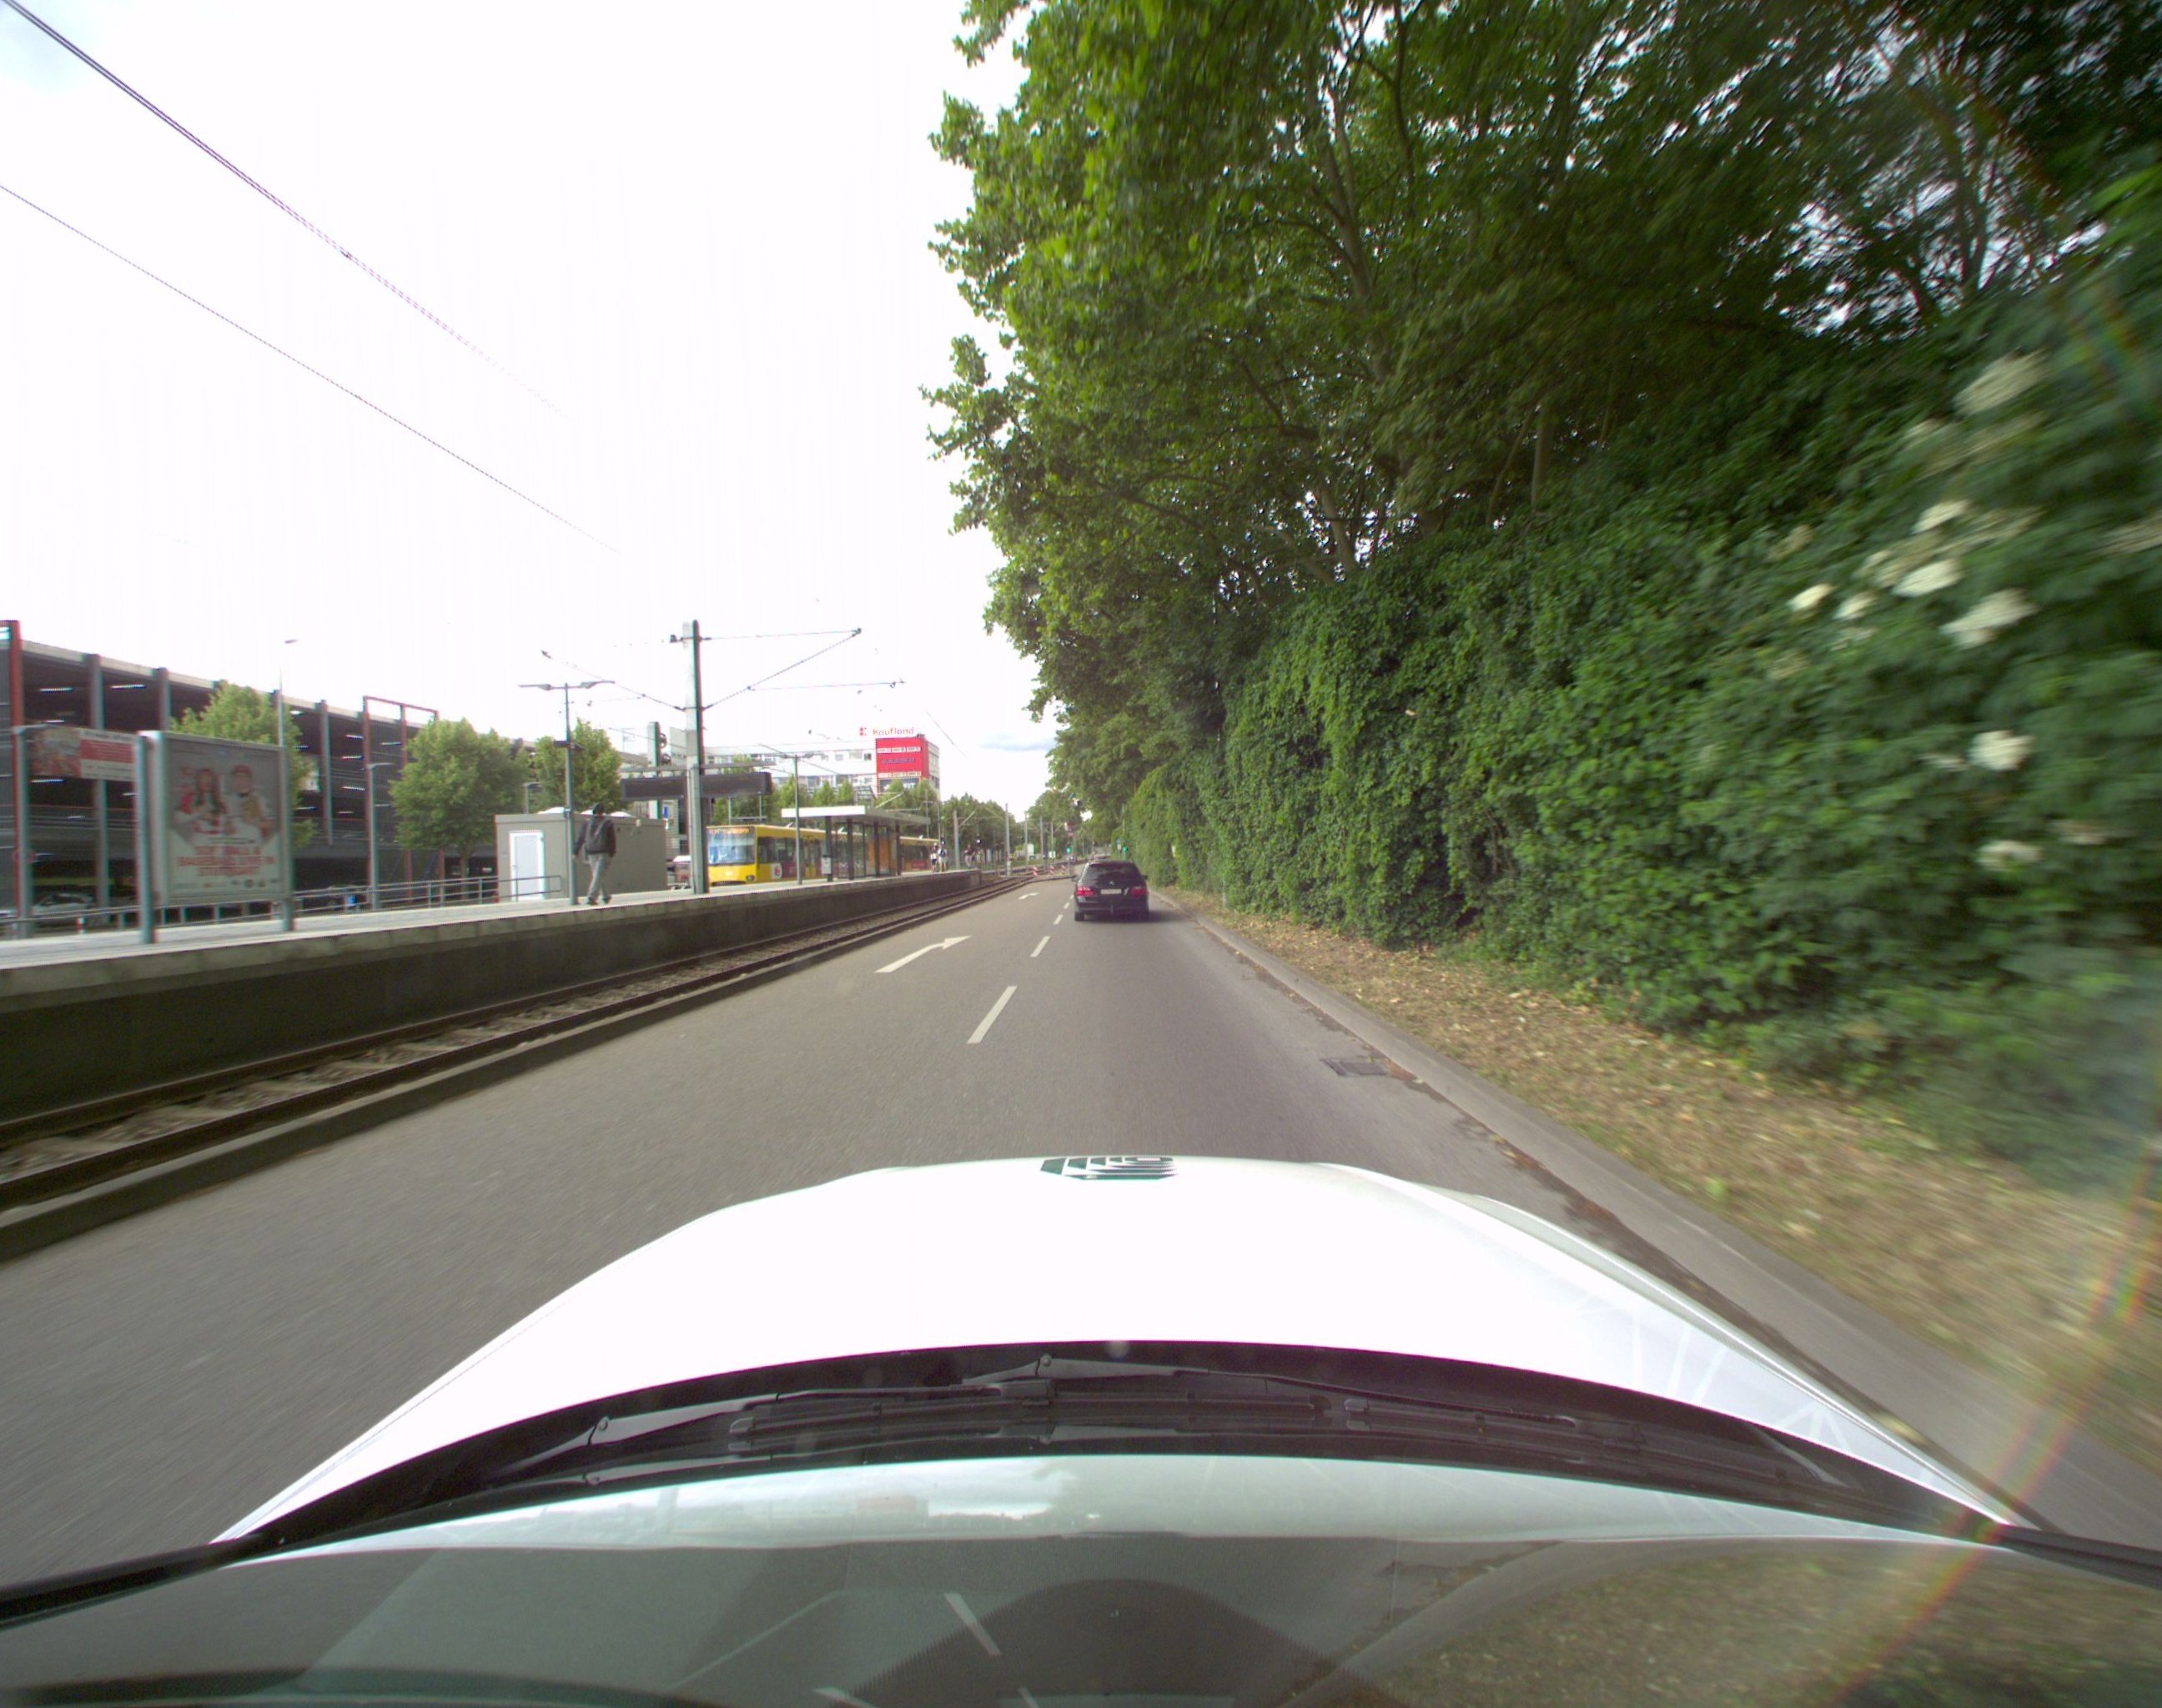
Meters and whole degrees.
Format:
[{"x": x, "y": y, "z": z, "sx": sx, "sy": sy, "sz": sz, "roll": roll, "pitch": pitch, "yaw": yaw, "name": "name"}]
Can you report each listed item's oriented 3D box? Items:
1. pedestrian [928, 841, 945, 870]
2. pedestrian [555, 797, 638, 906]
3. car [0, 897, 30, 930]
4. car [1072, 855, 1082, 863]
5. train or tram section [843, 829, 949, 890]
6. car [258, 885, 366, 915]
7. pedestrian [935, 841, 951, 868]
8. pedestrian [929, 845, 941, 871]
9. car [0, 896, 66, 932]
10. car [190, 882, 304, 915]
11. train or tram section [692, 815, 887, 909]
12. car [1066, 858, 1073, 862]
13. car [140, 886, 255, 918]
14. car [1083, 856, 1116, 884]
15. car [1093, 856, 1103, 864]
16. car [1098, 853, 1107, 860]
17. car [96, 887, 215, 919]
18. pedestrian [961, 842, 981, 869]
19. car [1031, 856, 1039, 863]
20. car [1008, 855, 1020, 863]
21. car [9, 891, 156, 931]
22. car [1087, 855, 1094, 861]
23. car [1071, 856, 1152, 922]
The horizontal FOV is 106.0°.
[{"x": -8.692, "y": 0.106, "z": 49.002, "sx": 0.768, "sy": 1.678, "sz": 0.791, "roll": -4, "pitch": -1, "yaw": 1, "name": "pedestrian"}, {"x": -8.243, "y": -0.037, "z": 13.884, "sx": 0.746, "sy": 1.744, "sz": 0.937, "roll": -4, "pitch": -1, "yaw": 1, "name": "pedestrian"}, {"x": -45.524, "y": 2.504, "z": 32.861, "sx": 1.528, "sy": 1.310, "sz": 3.544, "roll": -2, "pitch": 0, "yaw": 2, "name": "car"}, {"x": -0.918, "y": 1.119, "z": 179.251, "sx": 1.818, "sy": 1.530, "sz": 3.931, "roll": -1, "pitch": 0, "yaw": 3, "name": "car"}, {"x": -13.665, "y": 0.447, "z": 62.850, "sx": 2.745, "sy": 3.829, "sz": 18.646, "roll": -3, "pitch": -1, "yaw": 3, "name": "train or tram section"}, {"x": -42.022, "y": 2.472, "z": 44.637, "sx": 1.986, "sy": 1.310, "sz": 4.002, "roll": -4, "pitch": 0, "yaw": 2, "name": "car"}, {"x": -7.745, "y": 0.035, "z": 45.750, "sx": 0.514, "sy": 1.482, "sz": 0.585, "roll": -4, "pitch": -1, "yaw": 39, "name": "pedestrian"}, {"x": -8.357, "y": 0.236, "z": 46.503, "sx": 0.478, "sy": 1.483, "sz": 0.538, "roll": -3, "pitch": -1, "yaw": -25, "name": "pedestrian"}, {"x": -43.671, "y": 2.482, "z": 32.573, "sx": 1.528, "sy": 1.310, "sz": 3.544, "roll": -4, "pitch": 0, "yaw": 2, "name": "car"}, {"x": -45.475, "y": 2.380, "z": 44.540, "sx": 1.986, "sy": 1.473, "sz": 4.002, "roll": -4, "pitch": 0, "yaw": 2, "name": "car"}, {"x": -14.751, "y": 0.356, "z": 44.283, "sx": 2.745, "sy": 3.882, "sz": 18.647, "roll": -3, "pitch": 0, "yaw": 3, "name": "train or tram section"}, {"x": -3.315, "y": 1.787, "z": 244.290, "sx": 1.651, "sy": 1.393, "sz": 3.725, "roll": -2, "pitch": 0, "yaw": 6, "name": "car"}, {"x": -48.020, "y": 2.580, "z": 44.396, "sx": 1.816, "sy": 1.457, "sz": 4.001, "roll": -2, "pitch": 0, "yaw": 1, "name": "car"}, {"x": 1.082, "y": 0.882, "z": 48.274, "sx": 1.819, "sy": 1.530, "sz": 4.416, "roll": -1, "pitch": 0, "yaw": 1, "name": "car"}, {"x": 3.411, "y": 1.199, "z": 162.025, "sx": 1.818, "sy": 1.530, "sz": 4.419, "roll": -2, "pitch": 0, "yaw": 3, "name": "car"}, {"x": 4.920, "y": 0.644, "z": 184.246, "sx": 1.818, "sy": 1.530, "sz": 3.931, "roll": -1, "pitch": 0, "yaw": 3, "name": "car"}, {"x": -50.378, "y": 2.616, "z": 44.460, "sx": 1.816, "sy": 1.457, "sz": 4.001, "roll": -2, "pitch": 0, "yaw": 1, "name": "car"}, {"x": -7.043, "y": 0.098, "z": 52.072, "sx": 0.736, "sy": 1.678, "sz": 0.881, "roll": -4, "pitch": -1, "yaw": 45, "name": "pedestrian"}, {"x": -13.316, "y": 1.555, "z": 234.581, "sx": 1.986, "sy": 2.013, "sz": 4.001, "roll": -4, "pitch": 0, "yaw": 1, "name": "car"}, {"x": -16.638, "y": 1.246, "z": 203.450, "sx": 1.984, "sy": 1.743, "sz": 4.995, "roll": -3, "pitch": 0, "yaw": 5, "name": "car"}, {"x": -40.925, "y": 2.316, "z": 33.515, "sx": 1.528, "sy": 1.310, "sz": 3.544, "roll": -4, "pitch": 0, "yaw": 2, "name": "car"}, {"x": 2.535, "y": 0.988, "z": 223.252, "sx": 1.818, "sy": 1.530, "sz": 3.989, "roll": -1, "pitch": 0, "yaw": 3, "name": "car"}, {"x": 0.774, "y": 0.804, "z": 20.818, "sx": 1.826, "sy": 1.478, "sz": 4.418, "roll": -1, "pitch": 0, "yaw": 2, "name": "car"}]
